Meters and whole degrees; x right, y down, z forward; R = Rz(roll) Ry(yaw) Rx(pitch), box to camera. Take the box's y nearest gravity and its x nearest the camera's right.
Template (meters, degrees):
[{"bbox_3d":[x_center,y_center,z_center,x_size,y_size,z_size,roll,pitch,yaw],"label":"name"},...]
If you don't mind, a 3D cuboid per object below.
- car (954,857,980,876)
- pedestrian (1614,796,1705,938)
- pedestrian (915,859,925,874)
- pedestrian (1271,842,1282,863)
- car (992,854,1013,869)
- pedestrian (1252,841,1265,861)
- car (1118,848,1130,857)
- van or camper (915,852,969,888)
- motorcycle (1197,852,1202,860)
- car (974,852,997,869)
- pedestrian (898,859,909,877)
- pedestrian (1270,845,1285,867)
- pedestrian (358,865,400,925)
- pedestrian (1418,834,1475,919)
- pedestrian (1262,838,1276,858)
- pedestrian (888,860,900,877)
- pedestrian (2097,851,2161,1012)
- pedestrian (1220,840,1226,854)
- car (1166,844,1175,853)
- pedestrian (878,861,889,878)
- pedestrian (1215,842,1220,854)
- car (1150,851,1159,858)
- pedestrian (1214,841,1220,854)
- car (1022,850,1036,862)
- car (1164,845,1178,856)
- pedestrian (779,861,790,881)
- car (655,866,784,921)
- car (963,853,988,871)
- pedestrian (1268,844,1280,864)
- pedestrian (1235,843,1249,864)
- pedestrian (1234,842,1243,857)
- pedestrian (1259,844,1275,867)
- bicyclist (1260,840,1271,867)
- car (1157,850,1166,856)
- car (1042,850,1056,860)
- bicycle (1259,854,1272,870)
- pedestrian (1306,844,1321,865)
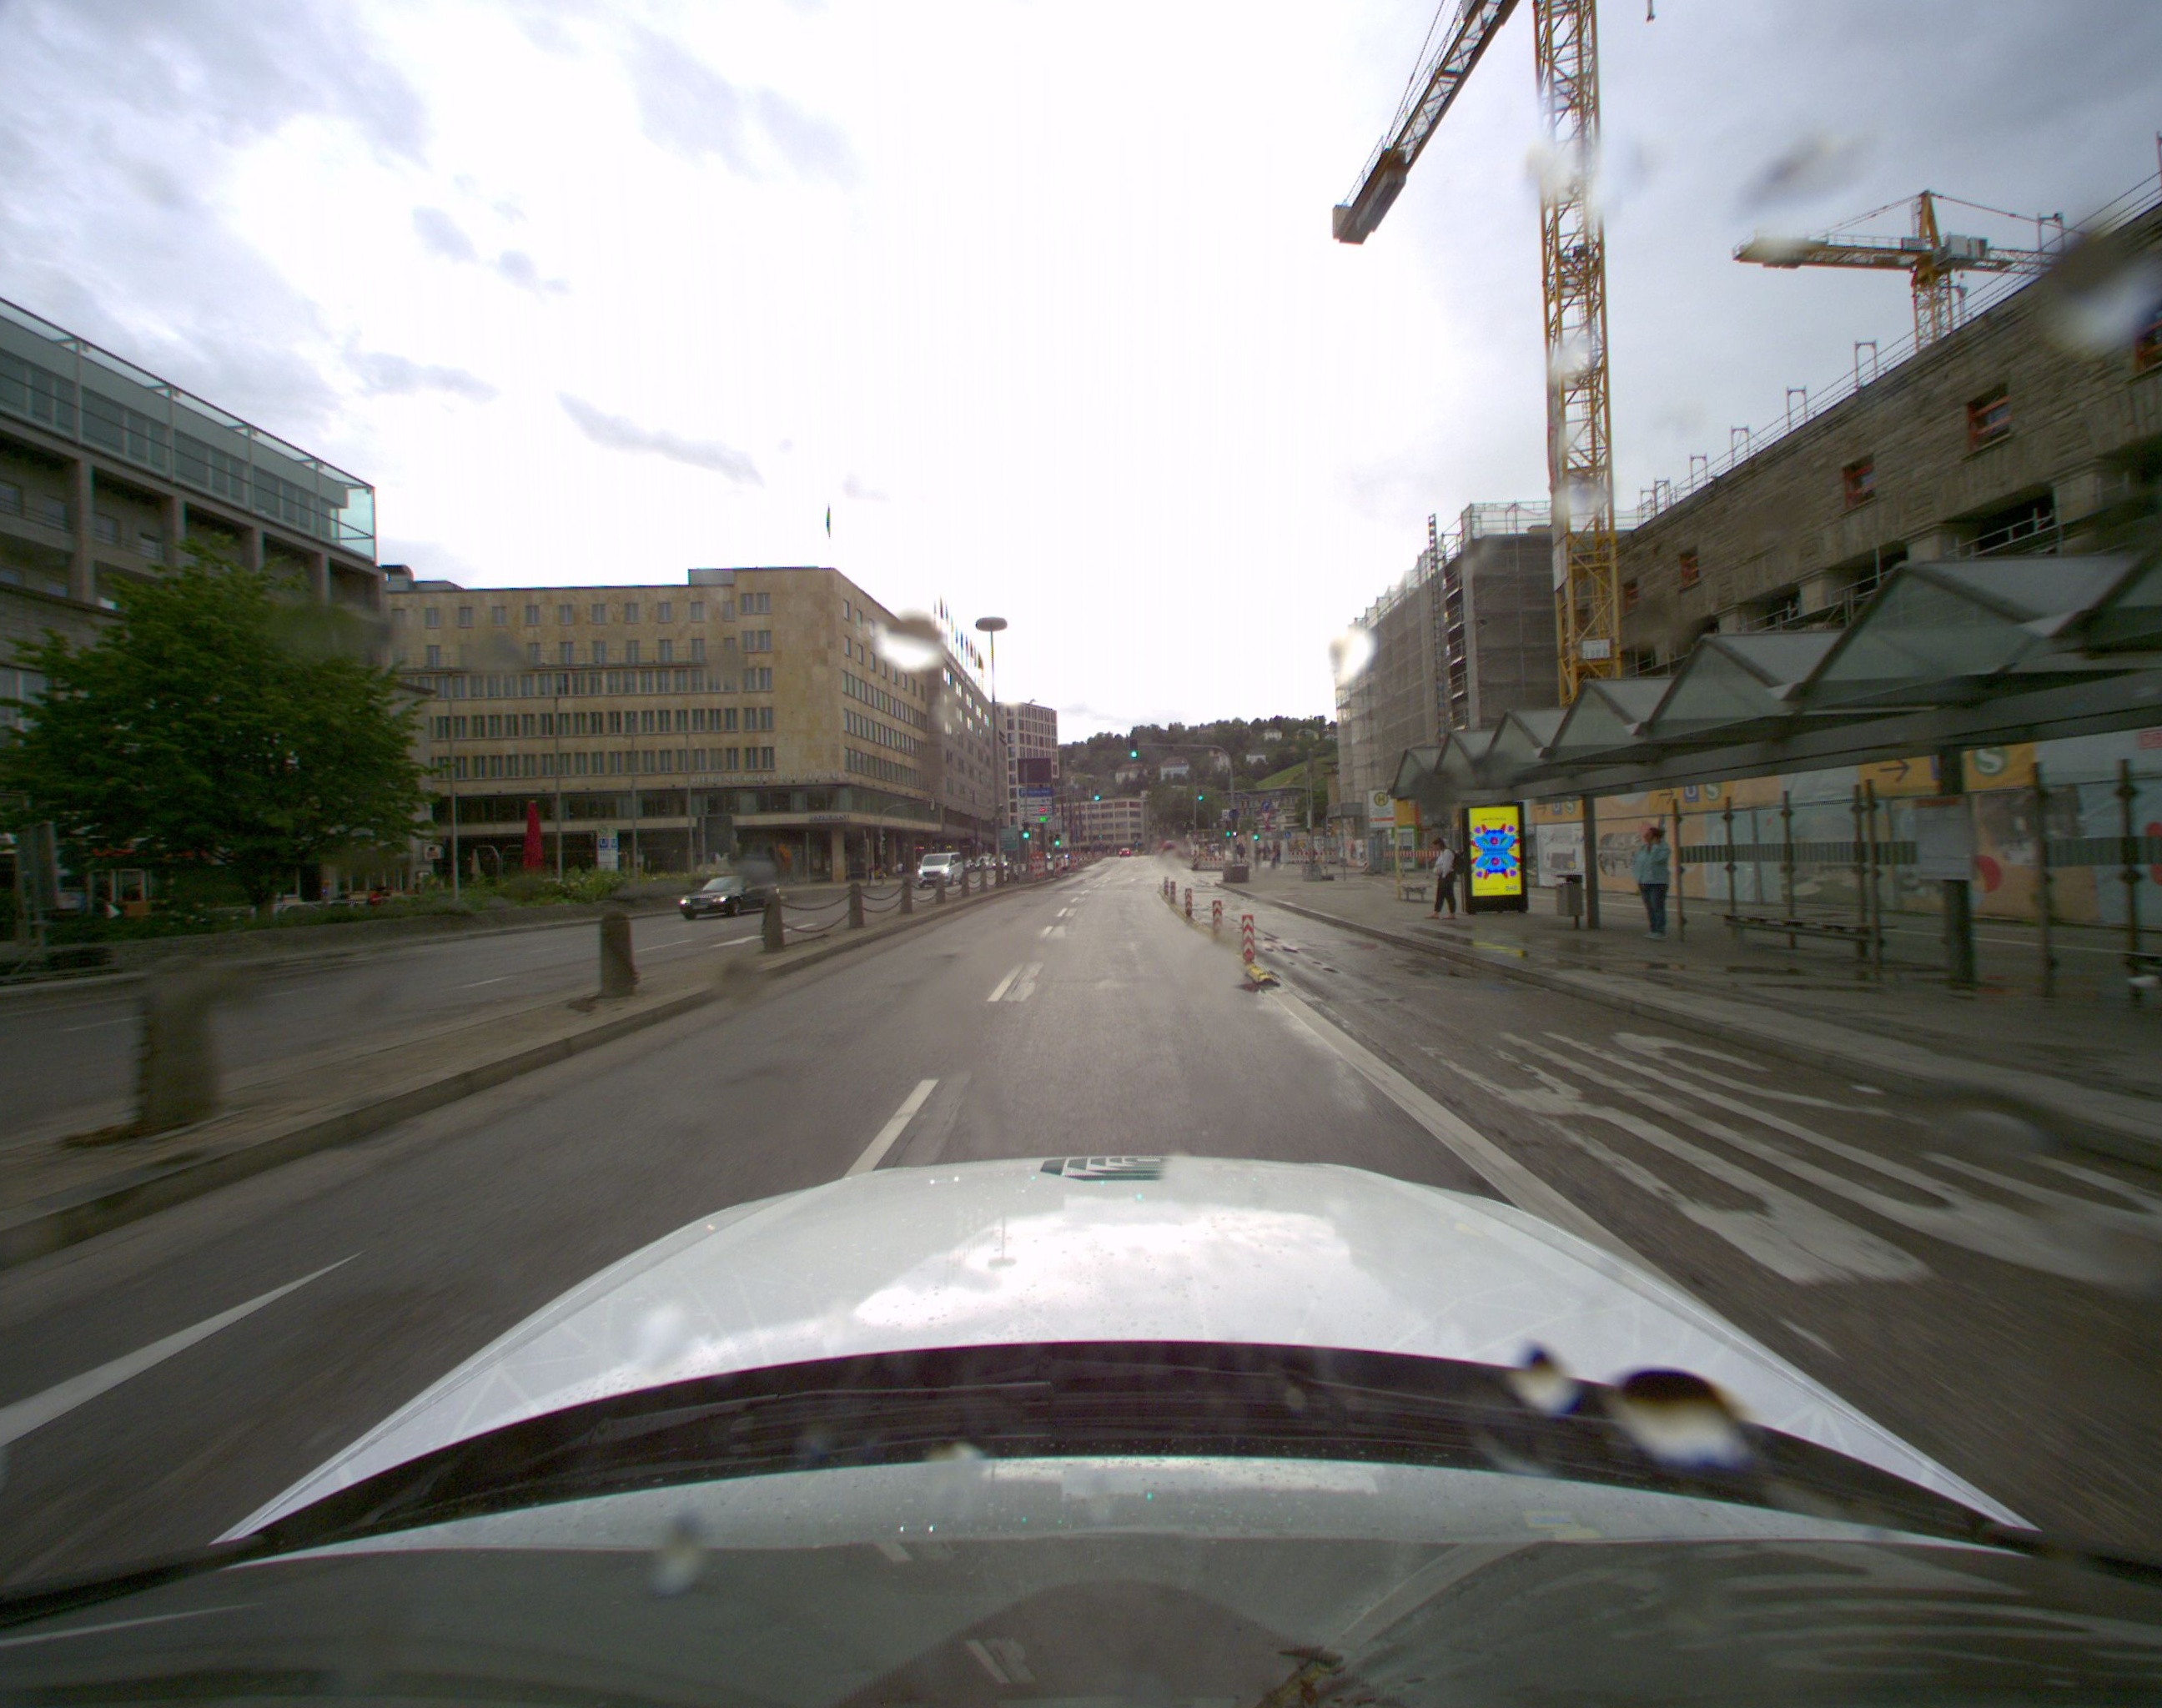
[{"bbox_3d":[-12.441,1.327,89.014,1.984,1.837,4.005,-3,0,4],"label":"car"},{"bbox_3d":[8.797,0.181,12.392,0.808,2.050,0.916,-1,0,-39],"label":"pedestrian"},{"bbox_3d":[-17.178,1.343,87.009,0.791,1.526,0.917,-3,0,5],"label":"pedestrian"},{"bbox_3d":[17.709,-0.126,73.759,0.858,1.841,0.800,-3,0,13],"label":"pedestrian"},{"bbox_3d":[-9.161,0.872,95.400,1.760,1.609,4.230,-3,0,4],"label":"car"},{"bbox_3d":[17.130,-0.289,78.665,0.943,1.841,0.867,-3,0,0],"label":"pedestrian"},{"bbox_3d":[7.947,-0.211,150.769,1.986,1.552,4.002,-3,0,2],"label":"car"},{"bbox_3d":[-8.317,0.934,49.312,1.985,2.013,5.195,-2,0,4],"label":"van or camper"},{"bbox_3d":[11.247,0.198,77.245,0.369,0.722,0.923,-1,1,6],"label":"motorcycle"},{"bbox_3d":[-11.774,0.794,101.006,1.984,2.013,4.169,-3,0,4],"label":"car"},{"bbox_3d":[-16.363,1.300,75.025,0.718,1.557,0.896,-3,0,5],"label":"pedestrian"},{"bbox_3d":[14.479,0.147,60.037,0.787,1.608,0.841,-3,0,32],"label":"pedestrian"},{"bbox_3d":[-24.483,1.429,28.402,0.664,2.013,0.794,-3,0,3],"label":"pedestrian"},{"bbox_3d":[7.496,0.443,16.722,0.705,1.679,0.717,-2,0,-25],"label":"pedestrian"},{"bbox_3d":[17.964,-0.585,77.652,0.955,1.841,0.857,-2,0,-44],"label":"pedestrian"},{"bbox_3d":[-17.209,1.327,75.011,0.718,1.557,0.906,-3,0,5],"label":"pedestrian"},{"bbox_3d":[8.795,0.597,6.263,0.910,1.230,0.841,-1,0,1],"label":"pedestrian"},{"bbox_3d":[19.817,-0.968,113.589,0.684,1.841,0.616,-3,0,8],"label":"pedestrian"},{"bbox_3d":[18.660,-1.188,169.511,1.768,1.639,4.005,-3,-1,4],"label":"car"},{"bbox_3d":[-18.245,1.416,75.229,0.718,1.557,1.006,-3,0,5],"label":"pedestrian"},{"bbox_3d":[21.515,-0.905,128.058,0.684,1.841,0.616,-3,0,8],"label":"pedestrian"},{"bbox_3d":[17.291,0.086,190.890,1.812,1.442,4.003,-1,1,2],"label":"car"},{"bbox_3d":[19.025,-0.935,113.666,0.684,1.841,0.616,-3,0,8],"label":"pedestrian"},{"bbox_3d":[-9.240,0.306,144.974,1.984,2.013,4.005,-4,0,4],"label":"car"},{"bbox_3d":[14.409,-0.553,130.550,1.986,1.706,4.002,-3,0,2],"label":"car"},{"bbox_3d":[-25.449,1.434,69.906,0.696,1.644,0.647,-3,0,-16],"label":"pedestrian"},{"bbox_3d":[-12.693,1.315,29.013,1.984,1.616,4.984,-3,0,4],"label":"car"},{"bbox_3d":[-12.309,0.888,95.216,1.984,2.013,4.005,-3,0,4],"label":"car"},{"bbox_3d":[16.885,-0.015,71.271,0.860,1.661,0.799,-3,0,6],"label":"pedestrian"},{"bbox_3d":[14.986,-0.049,75.873,0.937,1.841,0.953,-3,0,34],"label":"pedestrian"},{"bbox_3d":[20.220,-0.613,104.580,0.940,1.841,0.870,-3,0,9],"label":"pedestrian"},{"bbox_3d":[13.825,0.101,60.524,0.787,1.608,0.841,-3,0,32],"label":"pedestrian"},{"bbox_3d":[13.136,-0.048,58.021,0.699,1.845,0.970,-1,0,8],"label":"bicyclist"},{"bbox_3d":[20.338,-0.314,204.599,1.986,1.442,4.002,-1,1,2],"label":"car"},{"bbox_3d":[-5.804,0.200,146.268,1.984,1.750,4.005,-3,0,4],"label":"car"},{"bbox_3d":[13.161,0.549,58.051,0.703,1.049,1.810,-1,1,8],"label":"bicycle"},{"bbox_3d":[17.755,0.036,62.184,0.768,1.608,0.860,-2,0,-11],"label":"pedestrian"}]
